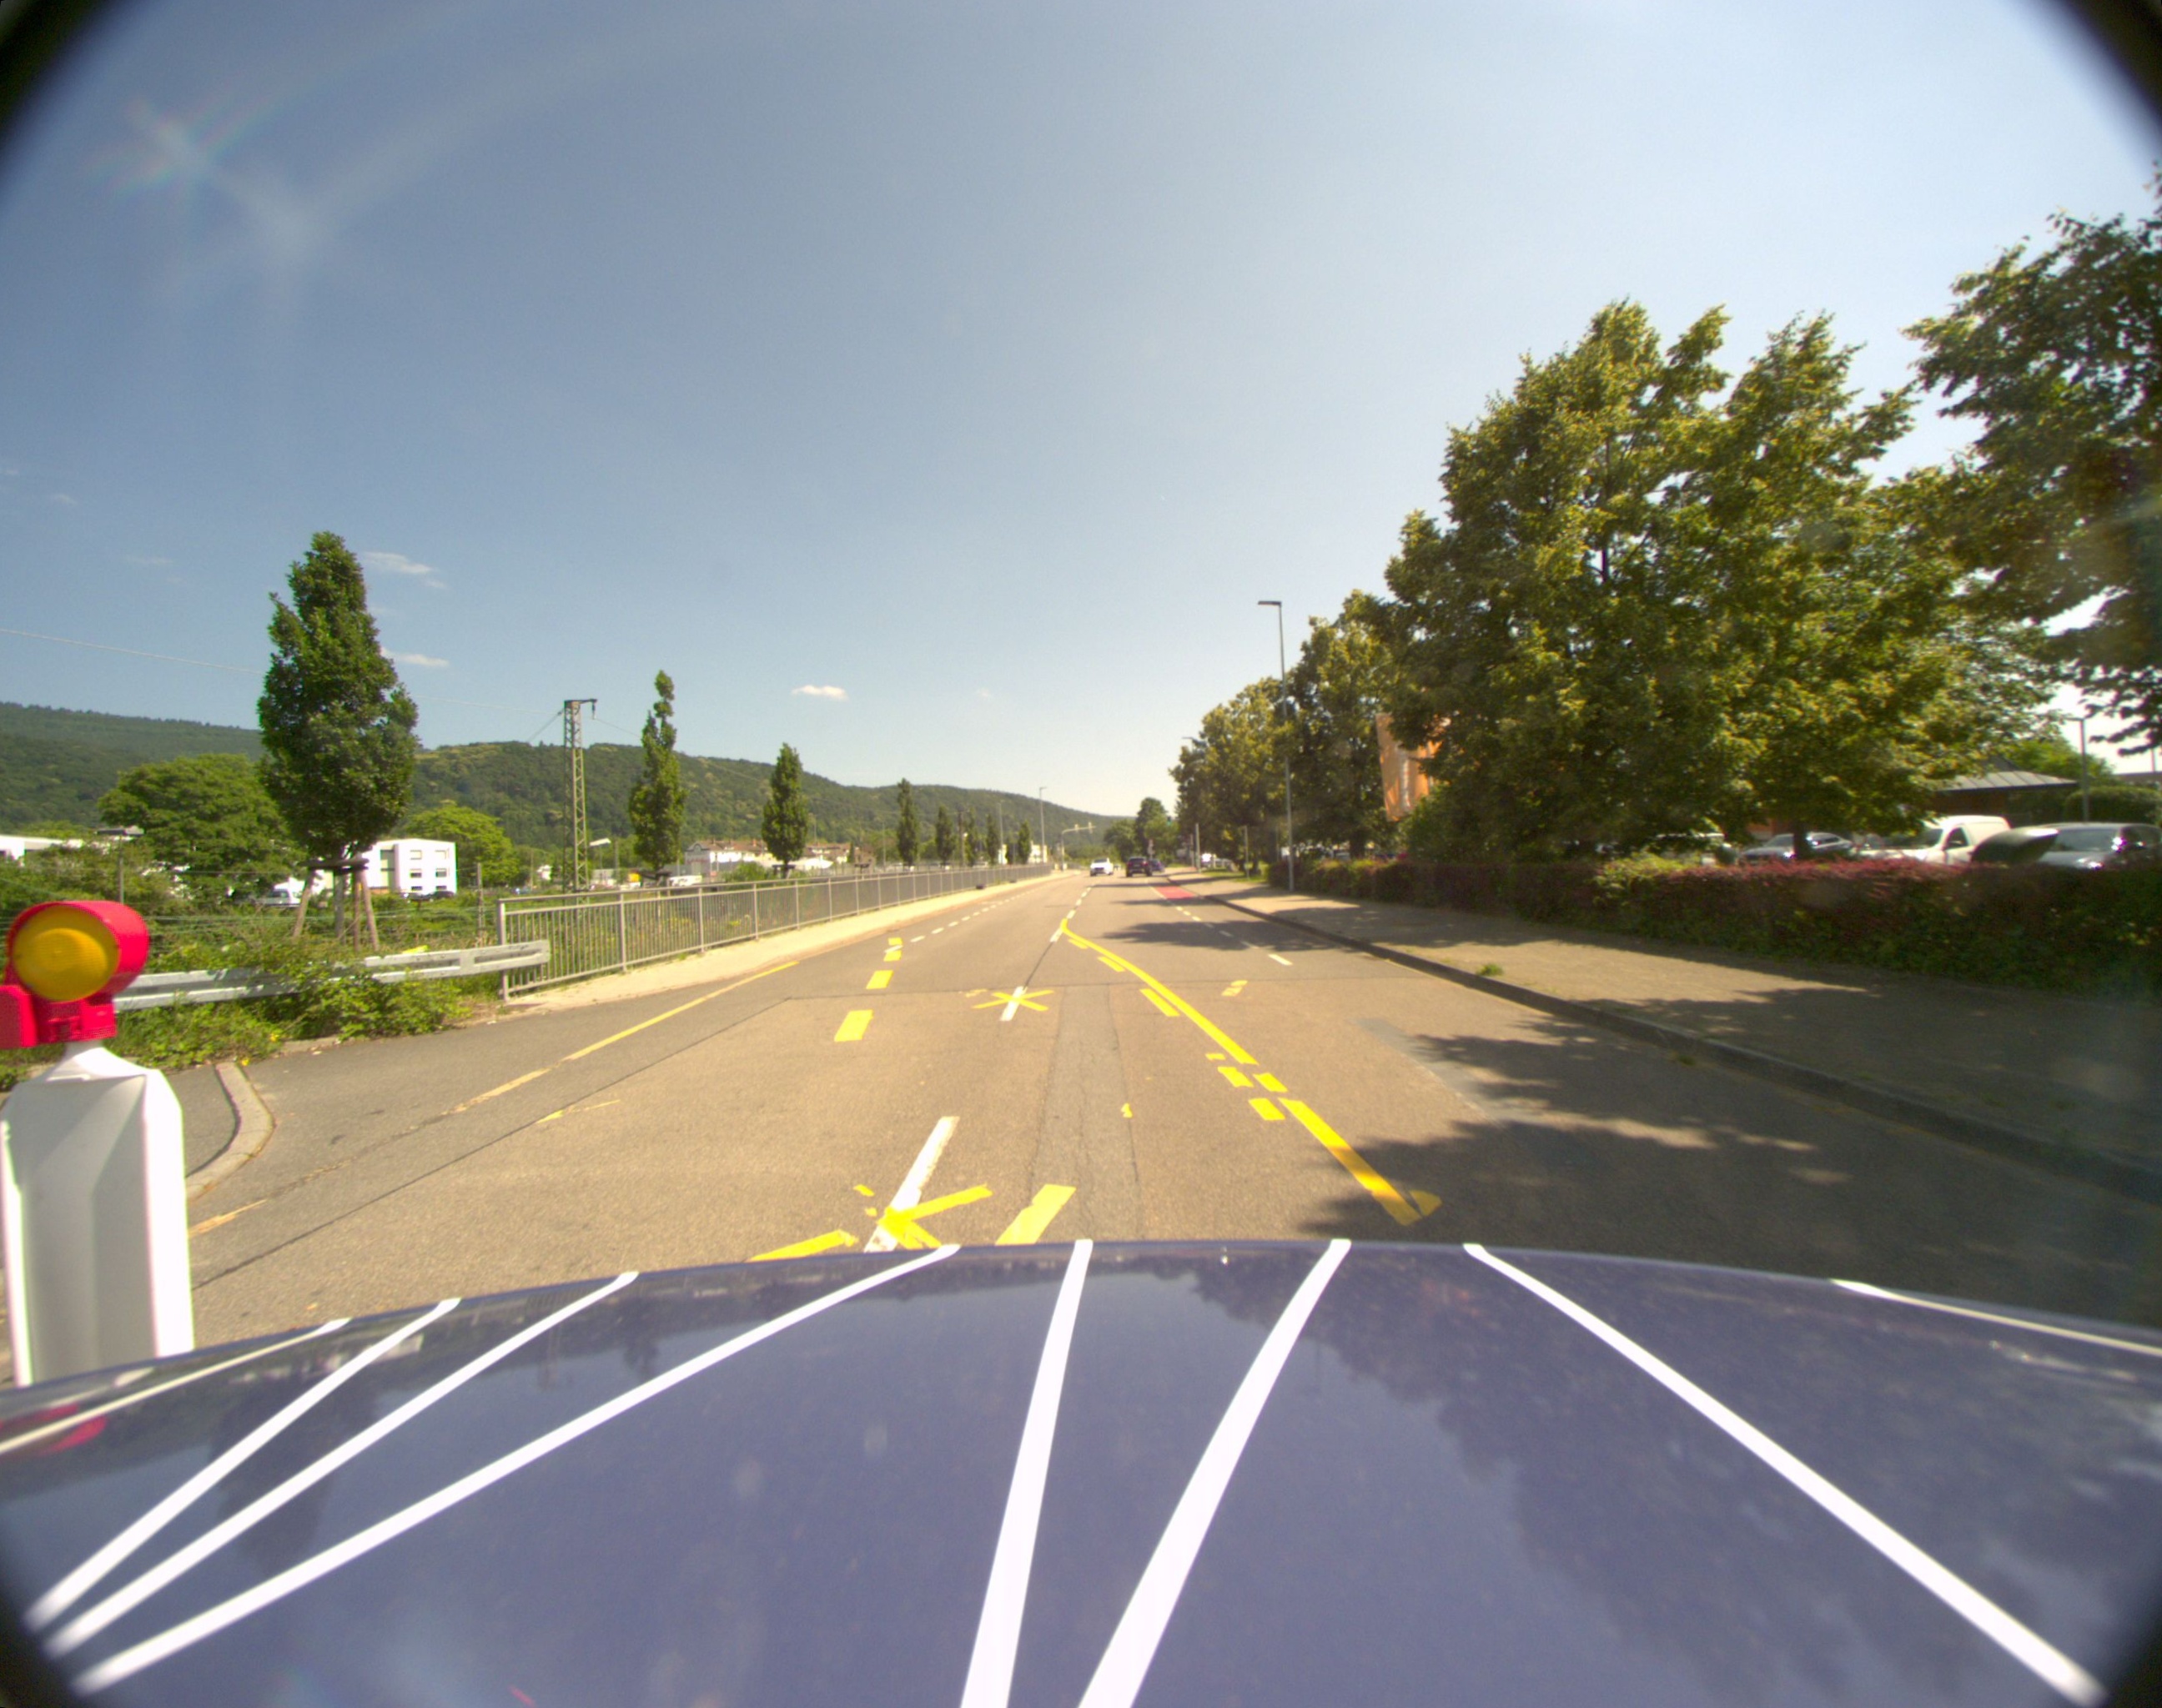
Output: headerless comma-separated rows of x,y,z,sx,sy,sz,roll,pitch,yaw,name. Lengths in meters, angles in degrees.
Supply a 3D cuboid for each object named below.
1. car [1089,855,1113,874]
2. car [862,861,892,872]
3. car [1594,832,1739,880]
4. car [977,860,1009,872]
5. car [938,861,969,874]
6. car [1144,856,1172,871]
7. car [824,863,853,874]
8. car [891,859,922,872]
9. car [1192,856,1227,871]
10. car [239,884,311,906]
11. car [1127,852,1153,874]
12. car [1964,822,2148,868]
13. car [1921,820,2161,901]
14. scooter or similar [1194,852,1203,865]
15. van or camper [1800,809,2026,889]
1.958,0.983,72.435,1.998,1.709,4.635,-2,0,4,car
-32.093,1.984,119.484,4.432,1.616,1.739,-3,-1,22,car
23.066,0.096,30.143,1.720,1.725,4.242,-2,0,-20,car
-12.657,1.738,109.199,4.400,1.460,1.740,-4,-3,29,car
-18.942,2.006,112.776,4.432,1.616,1.740,-4,-3,29,car
7.650,0.930,75.112,1.658,1.372,4.006,-2,0,21,car
-39.664,2.423,124.299,4.432,1.616,1.740,-4,-3,24,car
-26.926,1.770,117.011,4.432,1.616,1.740,-4,-3,24,car
14.312,1.093,84.330,1.780,1.487,4.732,-2,0,37,car
-87.424,4.407,82.498,1.997,2.100,4.995,-2,0,10,car
4.886,0.743,62.399,1.954,1.685,4.615,-2,0,7,car
31.914,-0.265,25.002,1.592,1.368,3.341,-2,0,-13,car
20.030,0.106,15.797,4.002,1.451,1.892,-2,0,-17,car
10.816,0.417,69.702,0.472,1.177,1.367,-2,0,22,scooter or similar
20.361,-0.121,18.646,4.287,1.729,1.998,-2,0,-15,van or camper
